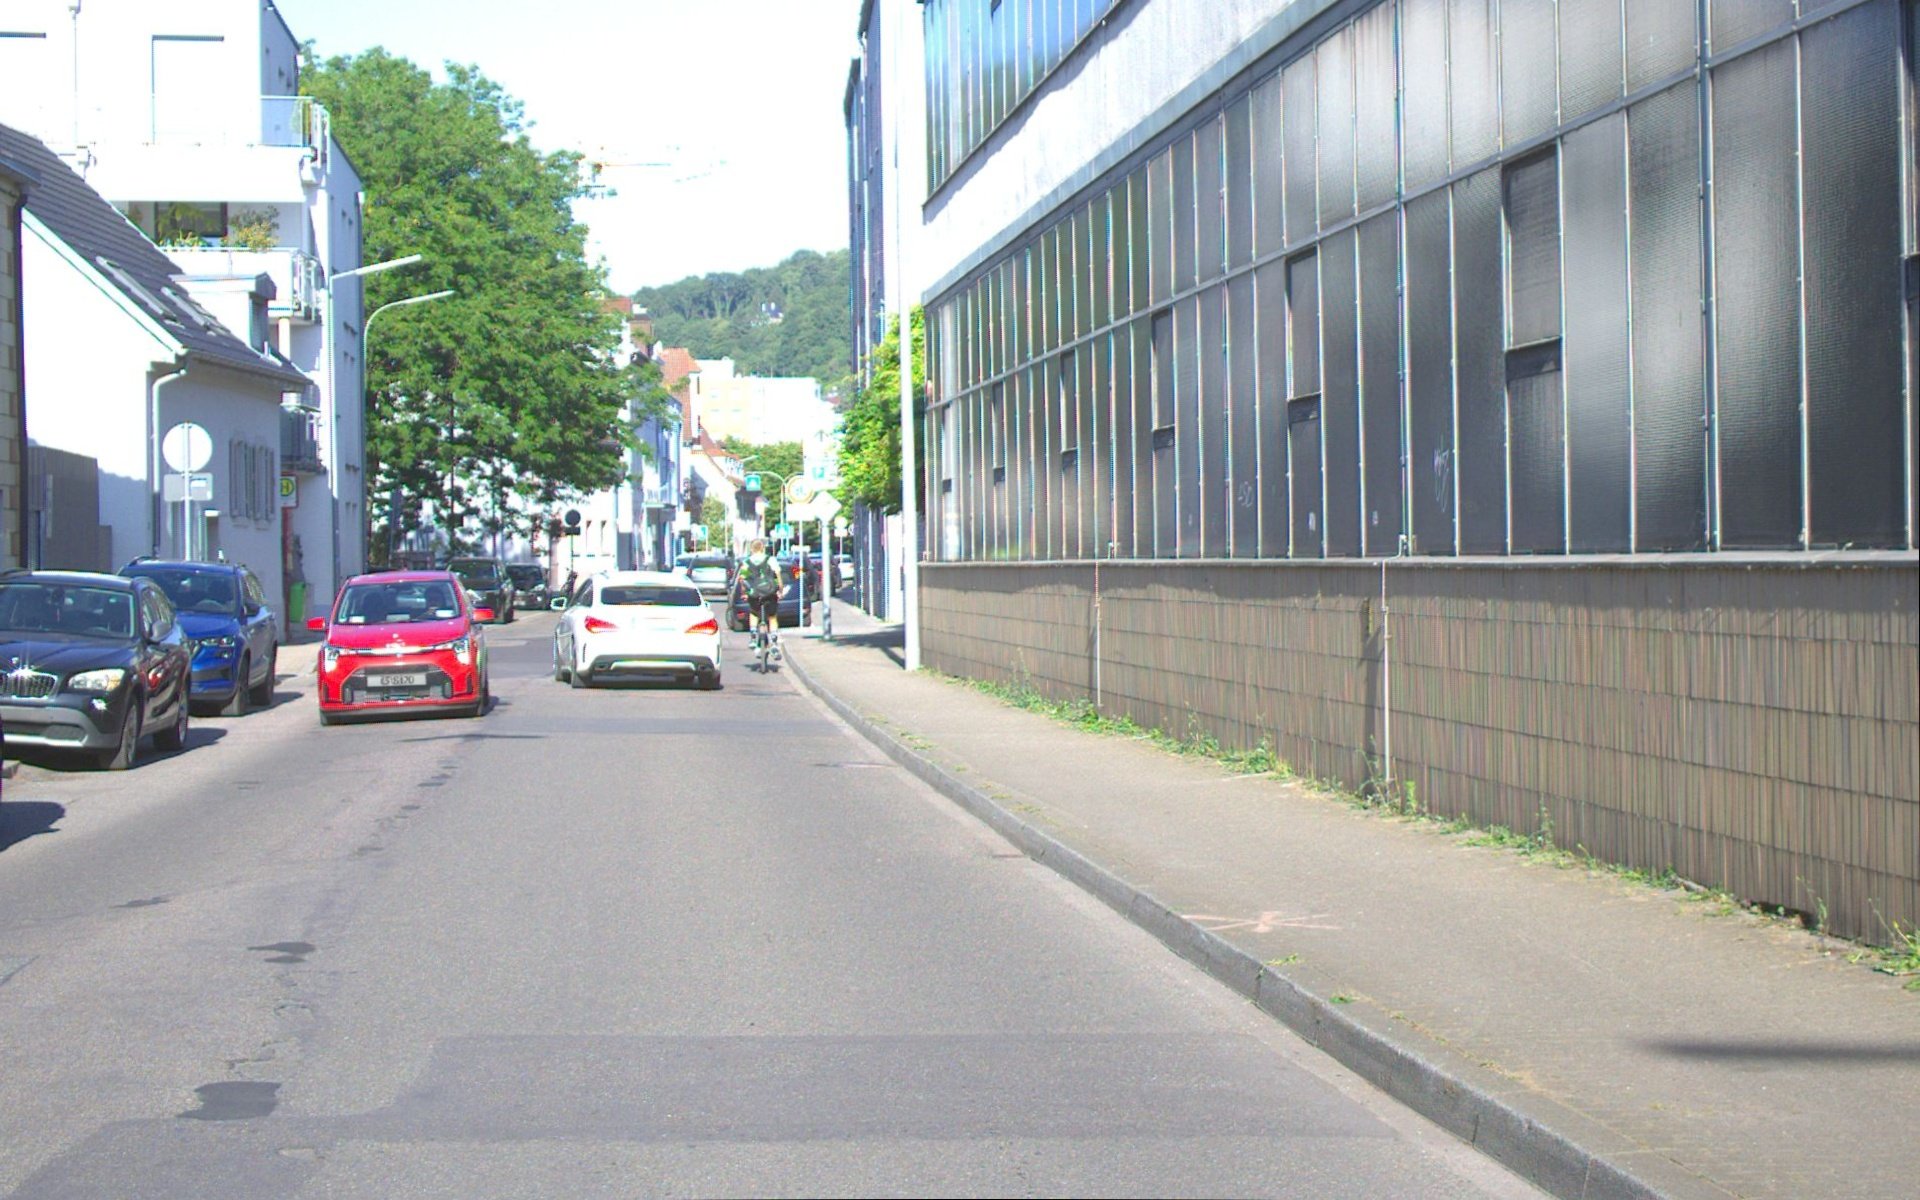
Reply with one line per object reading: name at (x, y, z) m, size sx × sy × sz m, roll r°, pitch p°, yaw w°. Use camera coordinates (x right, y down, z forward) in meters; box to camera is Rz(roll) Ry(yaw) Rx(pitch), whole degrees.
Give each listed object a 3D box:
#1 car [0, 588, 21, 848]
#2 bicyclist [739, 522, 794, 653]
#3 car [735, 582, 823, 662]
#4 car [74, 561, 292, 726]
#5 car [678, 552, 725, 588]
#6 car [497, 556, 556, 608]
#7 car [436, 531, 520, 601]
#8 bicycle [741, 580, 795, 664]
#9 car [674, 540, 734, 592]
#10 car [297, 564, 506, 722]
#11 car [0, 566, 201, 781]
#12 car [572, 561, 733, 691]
car at (-6.340, 0.716, 19.120) m, size 1.684 × 1.530 × 4.336 m, roll 0°, pitch 0°, yaw -9°
bicyclist at (-2.701, -0.175, 47.930) m, size 0.698 × 1.784 × 1.041 m, roll -1°, pitch 0°, yaw -4°
car at (-4.026, 0.463, 75.957) m, size 1.629 × 1.581 × 4.070 m, roll -5°, pitch 1°, yaw -5°
car at (-8.487, 0.423, 37.837) m, size 1.808 × 1.581 × 4.194 m, roll 0°, pitch 2°, yaw -5°
car at (-12.537, -1.466, 167.196) m, size 1.945 × 1.581 × 4.622 m, roll -5°, pitch 1°, yaw -2°
car at (-13.992, -0.607, 111.117) m, size 1.704 × 1.570 × 3.915 m, roll -2°, pitch 1°, yaw -5°
car at (-12.976, -0.950, 92.688) m, size 1.853 × 1.785 × 4.608 m, roll -2°, pitch 1°, yaw -4°
bicycle at (-2.687, 0.294, 48.015) m, size 0.698 × 1.126 × 2.403 m, roll -1°, pitch 1°, yaw -4°
car at (-9.136, -1.227, 122.609) m, size 1.853 × 1.785 × 4.608 m, roll -2°, pitch 1°, yaw -7°
car at (-5.690, 0.400, 35.430) m, size 1.842 × 1.486 × 4.145 m, roll -1°, pitch 1°, yaw -6°
car at (-7.668, 0.557, 29.052) m, size 1.857 × 1.581 × 4.337 m, roll 0°, pitch 2°, yaw -5°
car at (-3.827, 0.284, 42.397) m, size 1.842 × 1.486 × 4.145 m, roll -1°, pitch 1°, yaw -6°
